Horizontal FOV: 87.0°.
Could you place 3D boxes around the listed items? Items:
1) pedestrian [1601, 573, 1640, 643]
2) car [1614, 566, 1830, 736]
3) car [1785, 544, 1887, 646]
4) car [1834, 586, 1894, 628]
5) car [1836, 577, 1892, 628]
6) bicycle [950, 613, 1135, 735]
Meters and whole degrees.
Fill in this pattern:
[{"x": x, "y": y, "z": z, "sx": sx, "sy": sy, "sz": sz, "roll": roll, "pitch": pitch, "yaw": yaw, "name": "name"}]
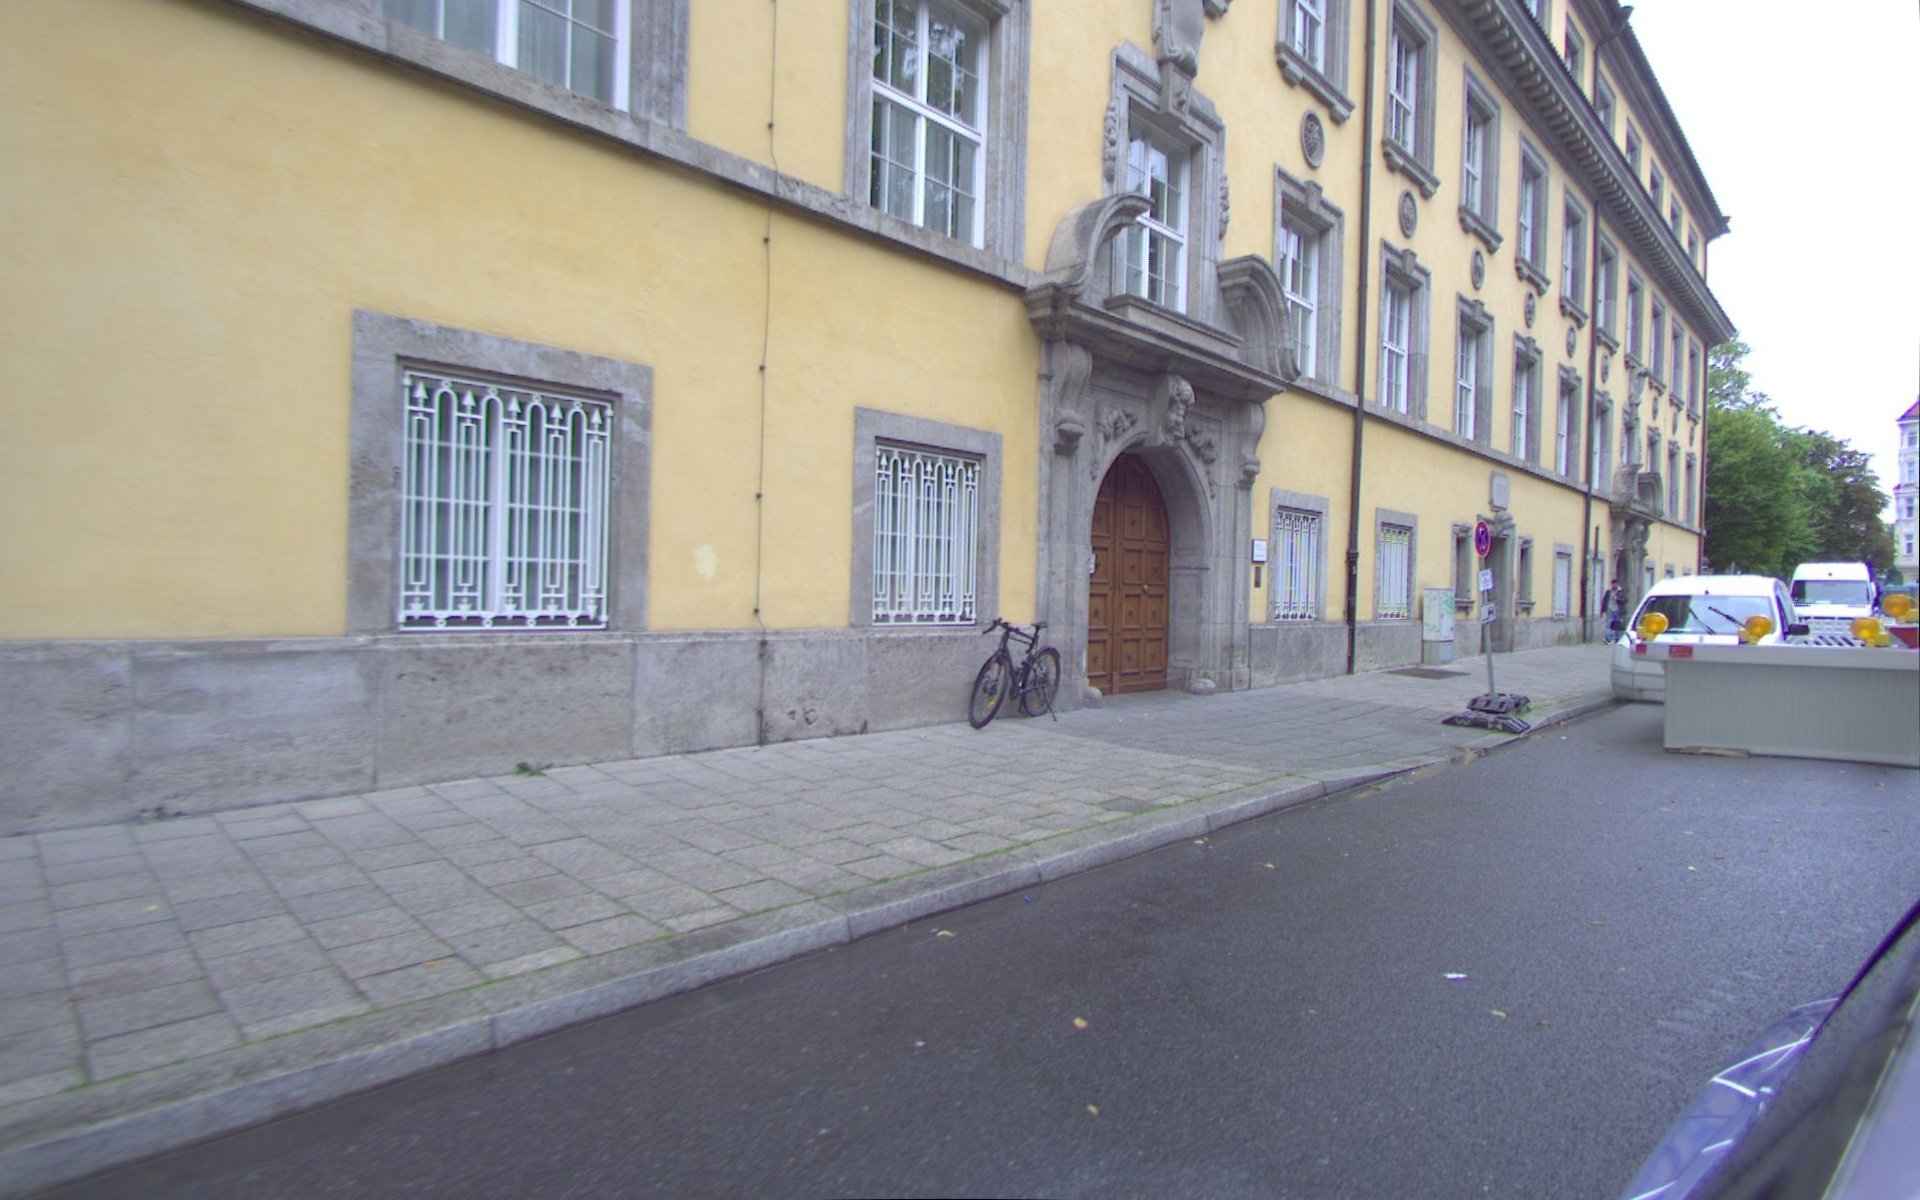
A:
[{"x": 17.927, "y": 0.202, "z": 27.470, "sx": 0.700, "sy": 1.826, "sz": 0.574, "roll": 4, "pitch": 4, "yaw": 43, "name": "pedestrian"}, {"x": 9.768, "y": 0.475, "z": 12.843, "sx": 1.739, "sy": 1.771, "sz": 4.289, "roll": 2, "pitch": 3, "yaw": 43, "name": "car"}, {"x": 26.417, "y": -0.202, "z": 30.481, "sx": 2.053, "sy": 2.706, "sz": 7.499, "roll": 2, "pitch": 2, "yaw": 42, "name": "car"}, {"x": 43.678, "y": 0.303, "z": 48.999, "sx": 2.011, "sy": 1.930, "sz": 5.089, "roll": 1, "pitch": 1, "yaw": 40, "name": "car"}, {"x": 48.474, "y": 0.064, "z": 54.298, "sx": 2.094, "sy": 2.518, "sz": 5.653, "roll": 2, "pitch": 3, "yaw": 42, "name": "car"}, {"x": 0.853, "y": 0.670, "z": 9.966, "sx": 0.680, "sy": 1.019, "sz": 2.024, "roll": 2, "pitch": 2, "yaw": 44, "name": "bicycle"}]
